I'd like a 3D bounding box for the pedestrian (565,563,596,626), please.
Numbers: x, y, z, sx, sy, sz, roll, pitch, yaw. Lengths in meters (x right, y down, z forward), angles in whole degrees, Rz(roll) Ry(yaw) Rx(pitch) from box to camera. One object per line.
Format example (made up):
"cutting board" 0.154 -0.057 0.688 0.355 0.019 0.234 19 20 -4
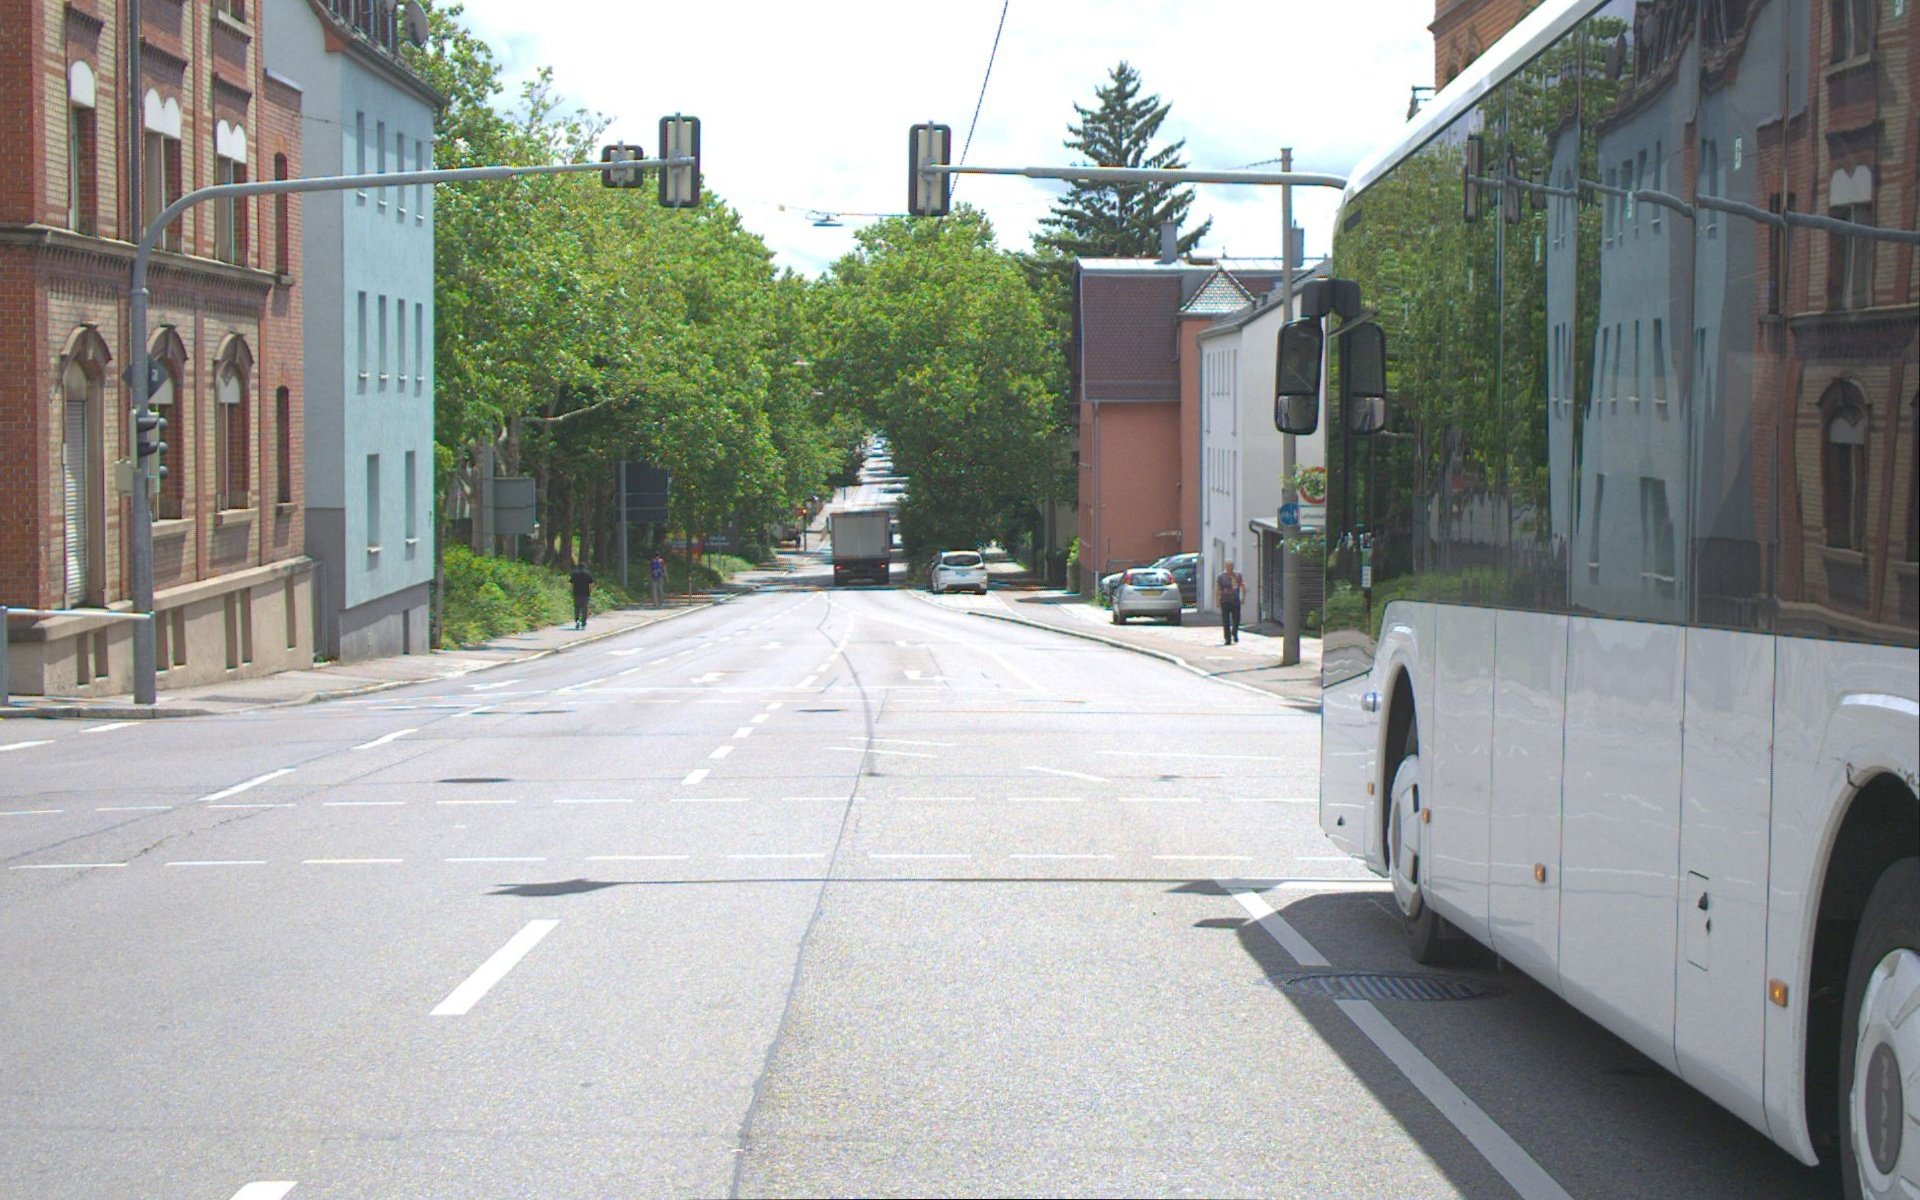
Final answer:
"pedestrian" -9.492 -0.146 86.047 0.729 1.560 0.561 0 1 -1

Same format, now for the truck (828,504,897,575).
"truck" -4.481 -2.768 156.279 2.926 3.070 7.886 -1 1 -3

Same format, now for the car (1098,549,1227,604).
"car" 6.654 -0.791 113.167 3.986 1.751 2.000 -1 1 -5

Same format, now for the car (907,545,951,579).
"car" -1.291 -1.595 145.824 1.794 1.405 4.419 1 1 0

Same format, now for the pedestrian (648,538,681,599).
"pedestrian" -9.872 -1.048 114.783 0.995 2.007 1.189 -1 1 -1

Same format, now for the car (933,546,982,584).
"car" -0.104 -1.318 129.503 1.794 1.405 4.000 1 1 -1

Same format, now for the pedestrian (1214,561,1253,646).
"pedestrian" 5.669 0.075 71.237 0.738 1.744 0.619 -1 1 -1

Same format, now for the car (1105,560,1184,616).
"car" 4.979 -0.340 93.069 1.794 1.405 4.001 -1 1 -2

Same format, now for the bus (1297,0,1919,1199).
"bus" 2.942 -0.143 9.278 2.672 3.145 12.462 1 1 -1

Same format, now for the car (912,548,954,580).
"car" -1.192 -1.600 153.930 1.794 1.405 4.419 1 1 0
